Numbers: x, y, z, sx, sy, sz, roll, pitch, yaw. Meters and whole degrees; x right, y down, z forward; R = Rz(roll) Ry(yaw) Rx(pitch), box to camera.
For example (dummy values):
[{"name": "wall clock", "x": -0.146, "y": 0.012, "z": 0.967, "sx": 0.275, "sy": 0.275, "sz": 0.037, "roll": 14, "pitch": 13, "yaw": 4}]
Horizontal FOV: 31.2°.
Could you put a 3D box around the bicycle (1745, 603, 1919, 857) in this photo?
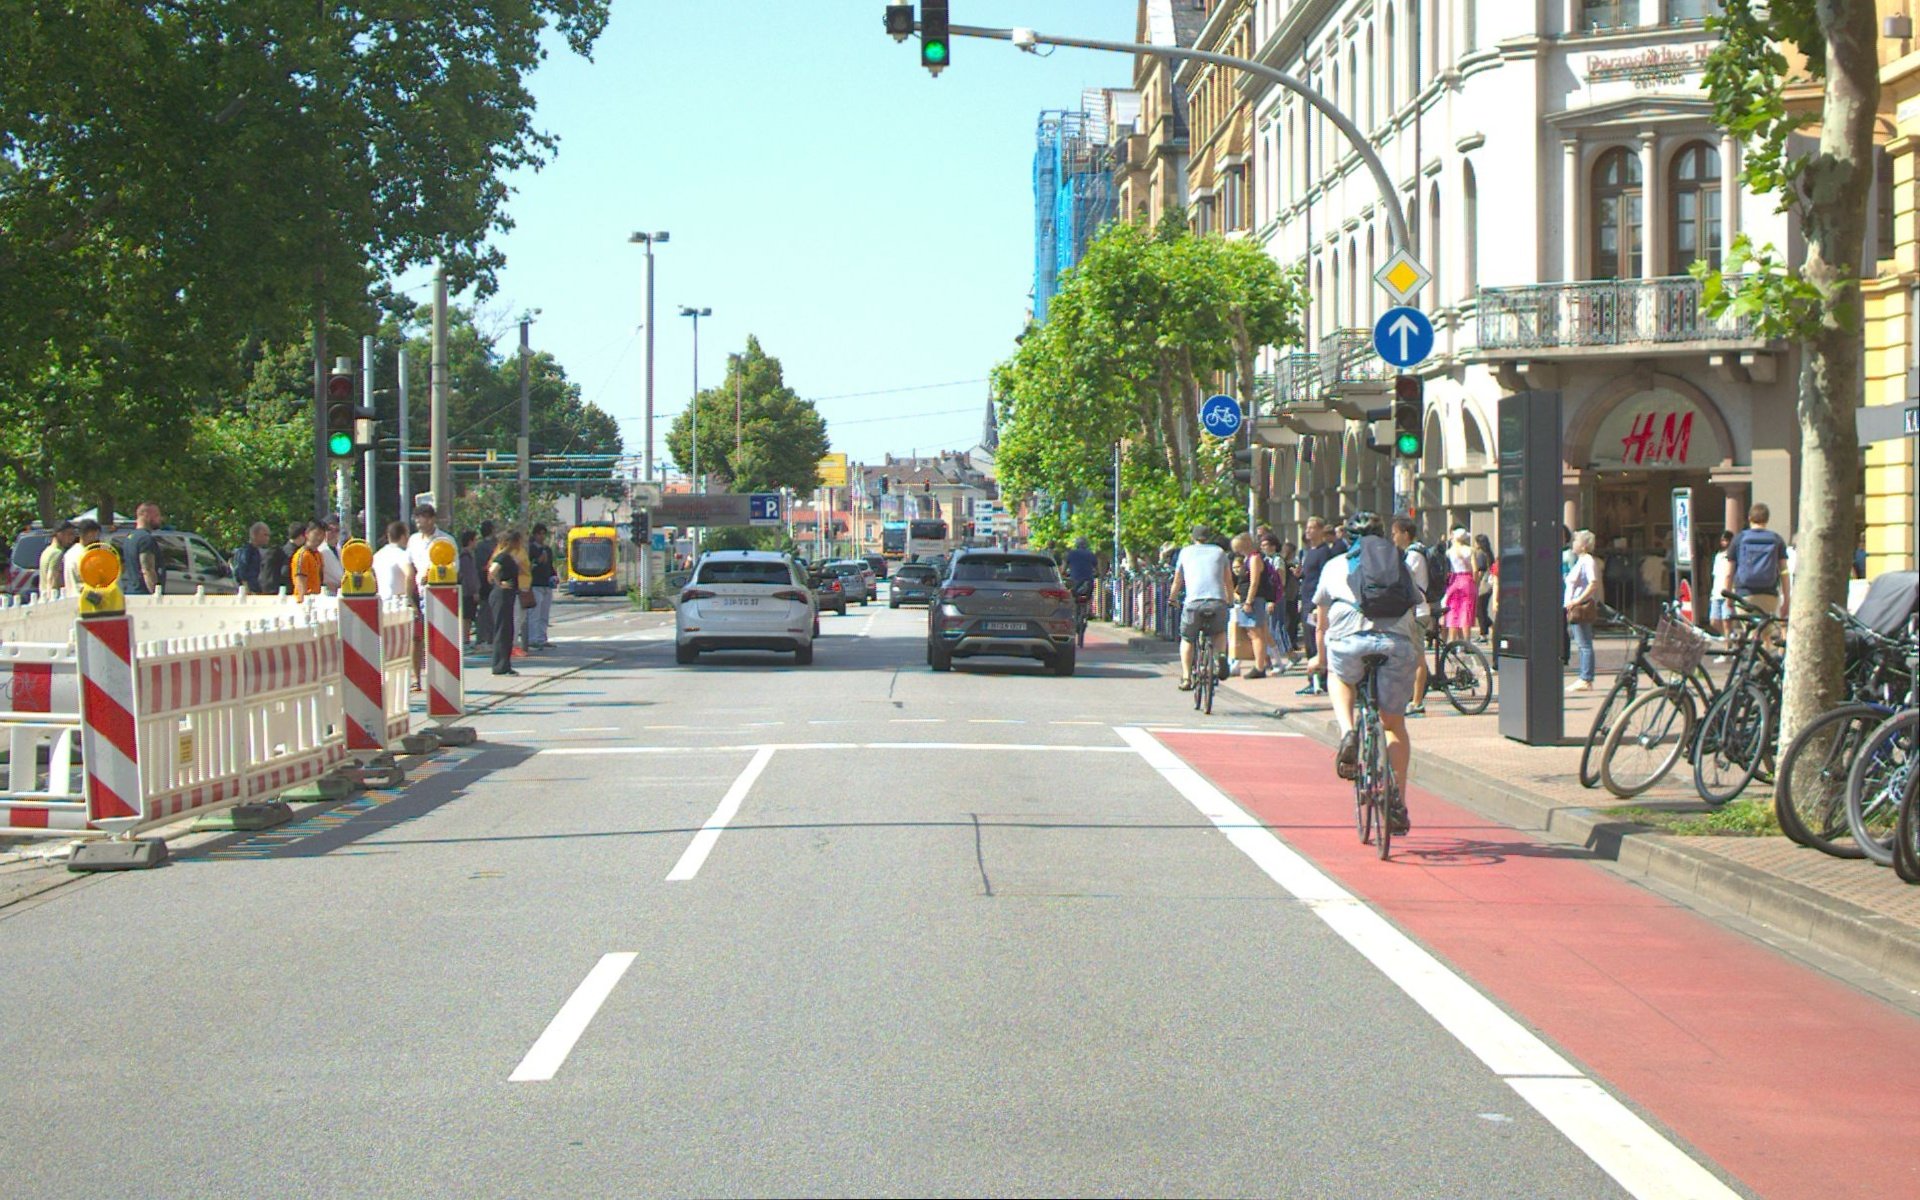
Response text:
[{"name": "bicycle", "x": 4.700, "y": 0.606, "z": 16.206, "sx": 1.844, "sy": 1.160, "sz": 0.659, "roll": 1, "pitch": 1, "yaw": 2}]

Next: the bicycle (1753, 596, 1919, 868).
[{"name": "bicycle", "x": 4.590, "y": 0.592, "z": 15.575, "sx": 1.844, "sy": 1.197, "sz": 0.608, "roll": 1, "pitch": 1, "yaw": 2}]

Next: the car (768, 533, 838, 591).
[{"name": "car", "x": -4.322, "y": -1.054, "z": 95.037, "sx": 1.845, "sy": 1.554, "sz": 4.000, "roll": 0, "pitch": 1, "yaw": -1}]

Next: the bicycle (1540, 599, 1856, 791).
[{"name": "bicycle", "x": 4.471, "y": 0.568, "z": 20.869, "sx": 1.781, "sy": 1.118, "sz": 0.563, "roll": -1, "pitch": 1, "yaw": -3}]

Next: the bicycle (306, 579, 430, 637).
[{"name": "bicycle", "x": -10.262, "y": 0.140, "z": 59.595, "sx": 2.081, "sy": 0.976, "sz": 0.685, "roll": -1, "pitch": 0, "yaw": -12}]

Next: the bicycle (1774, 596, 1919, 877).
[{"name": "bicycle", "x": 4.560, "y": 0.594, "z": 15.069, "sx": 1.844, "sy": 1.197, "sz": 0.545, "roll": 1, "pitch": 1, "yaw": 2}]

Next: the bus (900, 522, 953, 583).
[{"name": "bus", "x": -2.090, "y": -2.862, "z": 208.705, "sx": 2.994, "sy": 3.581, "sz": 11.745, "roll": 0, "pitch": 0, "yaw": -1}]

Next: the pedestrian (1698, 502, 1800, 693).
[{"name": "pedestrian", "x": 7.485, "y": -0.012, "z": 32.660, "sx": 0.657, "sy": 1.784, "sz": 1.233, "roll": 0, "pitch": -1, "yaw": -1}]

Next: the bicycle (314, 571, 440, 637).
[{"name": "bicycle", "x": -9.945, "y": 0.067, "z": 58.592, "sx": 2.081, "sy": 1.086, "sz": 0.685, "roll": -1, "pitch": 0, "yaw": -12}]

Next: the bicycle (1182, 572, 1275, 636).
[{"name": "bicycle", "x": 4.259, "y": 0.056, "z": 54.549, "sx": 1.420, "sy": 0.976, "sz": 0.445, "roll": -1, "pitch": 2, "yaw": 0}]

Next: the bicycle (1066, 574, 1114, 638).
[{"name": "bicycle", "x": 2.071, "y": 0.087, "z": 55.013, "sx": 0.647, "sy": 0.994, "sz": 2.031, "roll": 0, "pitch": 1, "yaw": -1}]

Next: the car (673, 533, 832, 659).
[{"name": "car", "x": -2.666, "y": -0.089, "z": 44.987, "sx": 1.845, "sy": 1.554, "sz": 4.000, "roll": -1, "pitch": 1, "yaw": 0}]

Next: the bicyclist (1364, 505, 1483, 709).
[{"name": "bicyclist", "x": 4.150, "y": 0.058, "z": 30.817, "sx": 0.573, "sy": 1.791, "sz": 0.857, "roll": -3, "pitch": 1, "yaw": -35}]

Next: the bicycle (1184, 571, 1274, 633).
[{"name": "bicycle", "x": 4.380, "y": 0.034, "z": 55.958, "sx": 1.420, "sy": 0.976, "sz": 0.445, "roll": -1, "pitch": 2, "yaw": 0}]

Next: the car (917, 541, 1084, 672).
[{"name": "car", "x": 0.468, "y": 0.043, "z": 43.639, "sx": 1.845, "sy": 1.554, "sz": 4.001, "roll": 1, "pitch": 1, "yaw": -3}]

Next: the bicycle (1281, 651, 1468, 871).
[{"name": "bicycle", "x": 2.057, "y": 0.777, "z": 17.299, "sx": 0.630, "sy": 0.976, "sz": 2.089, "roll": 0, "pitch": 1, "yaw": -1}]

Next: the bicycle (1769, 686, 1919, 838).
[{"name": "bicycle", "x": 5.094, "y": 0.805, "z": 17.494, "sx": 1.843, "sy": 0.713, "sz": 0.659, "roll": 0, "pitch": 1, "yaw": -21}]

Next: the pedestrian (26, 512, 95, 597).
[{"name": "pedestrian", "x": -12.129, "y": -0.616, "z": 46.368, "sx": 0.633, "sy": 1.140, "sz": 0.664, "roll": 0, "pitch": 0, "yaw": 20}]

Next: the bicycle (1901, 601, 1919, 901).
[{"name": "bicycle", "x": 4.685, "y": 0.615, "z": 13.850, "sx": 1.649, "sy": 1.197, "sz": 0.474, "roll": 1, "pitch": 1, "yaw": 2}]

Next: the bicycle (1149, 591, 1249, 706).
[{"name": "bicycle", "x": 2.258, "y": 0.444, "z": 32.766, "sx": 0.774, "sy": 1.002, "sz": 2.329, "roll": 0, "pitch": 1, "yaw": 0}]

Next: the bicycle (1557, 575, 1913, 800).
[{"name": "bicycle", "x": 4.506, "y": 0.492, "z": 19.987, "sx": 1.932, "sy": 1.253, "sz": 0.705, "roll": 0, "pitch": 1, "yaw": -20}]

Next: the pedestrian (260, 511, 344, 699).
[{"name": "pedestrian", "x": -6.066, "y": 0.046, "z": 31.682, "sx": 0.539, "sy": 1.712, "sz": 0.606, "roll": 1, "pitch": 0, "yaw": -32}]

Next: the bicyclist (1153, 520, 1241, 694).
[{"name": "bicyclist", "x": 2.254, "y": 0.055, "z": 32.741, "sx": 0.774, "sy": 1.629, "sz": 0.851, "roll": 0, "pitch": 1, "yaw": 0}]

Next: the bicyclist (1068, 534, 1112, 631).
[{"name": "bicyclist", "x": 2.081, "y": -0.279, "z": 55.222, "sx": 0.647, "sy": 1.545, "sz": 0.817, "roll": 0, "pitch": 1, "yaw": -1}]

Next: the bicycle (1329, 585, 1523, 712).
[{"name": "bicycle", "x": 4.161, "y": 0.421, "z": 30.827, "sx": 0.600, "sy": 1.078, "sz": 1.839, "roll": -3, "pitch": 1, "yaw": -35}]

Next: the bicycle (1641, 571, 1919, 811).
[{"name": "bicycle", "x": 4.822, "y": 0.497, "z": 19.391, "sx": 1.820, "sy": 1.304, "sz": 0.689, "roll": 0, "pitch": 1, "yaw": -20}]

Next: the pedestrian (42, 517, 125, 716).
[{"name": "pedestrian", "x": -8.448, "y": 0.158, "z": 33.165, "sx": 0.576, "sy": 1.884, "sz": 0.653, "roll": 1, "pitch": 0, "yaw": 1}]

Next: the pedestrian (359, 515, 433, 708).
[{"name": "pedestrian", "x": -5.123, "y": 0.100, "z": 31.223, "sx": 0.429, "sy": 1.734, "sz": 0.606, "roll": 1, "pitch": 0, "yaw": -32}]

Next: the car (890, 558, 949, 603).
[{"name": "car", "x": -1.324, "y": -0.658, "z": 111.747, "sx": 1.845, "sy": 1.409, "sz": 4.000, "roll": 0, "pitch": 1, "yaw": -1}]

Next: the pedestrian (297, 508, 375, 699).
[{"name": "pedestrian", "x": -5.877, "y": 0.033, "z": 32.400, "sx": 0.539, "sy": 1.773, "sz": 0.606, "roll": 2, "pitch": 0, "yaw": 5}]

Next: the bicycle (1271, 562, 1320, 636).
[{"name": "bicycle", "x": 5.271, "y": -0.019, "z": 53.961, "sx": 0.400, "sy": 1.110, "sz": 1.424, "roll": 0, "pitch": 2, "yaw": 20}]

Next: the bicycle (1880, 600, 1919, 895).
[{"name": "bicycle", "x": 4.808, "y": 0.611, "z": 14.264, "sx": 1.844, "sy": 1.197, "sz": 0.474, "roll": 1, "pitch": 1, "yaw": 2}]

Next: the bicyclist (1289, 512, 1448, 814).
[{"name": "bicyclist", "x": 2.054, "y": 0.297, "z": 17.399, "sx": 0.630, "sy": 1.476, "sz": 1.198, "roll": 0, "pitch": 1, "yaw": -1}]

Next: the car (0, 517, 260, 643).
[{"name": "car", "x": -13.404, "y": -0.331, "z": 55.572, "sx": 1.861, "sy": 1.948, "sz": 4.756, "roll": 0, "pitch": 0, "yaw": 20}]
